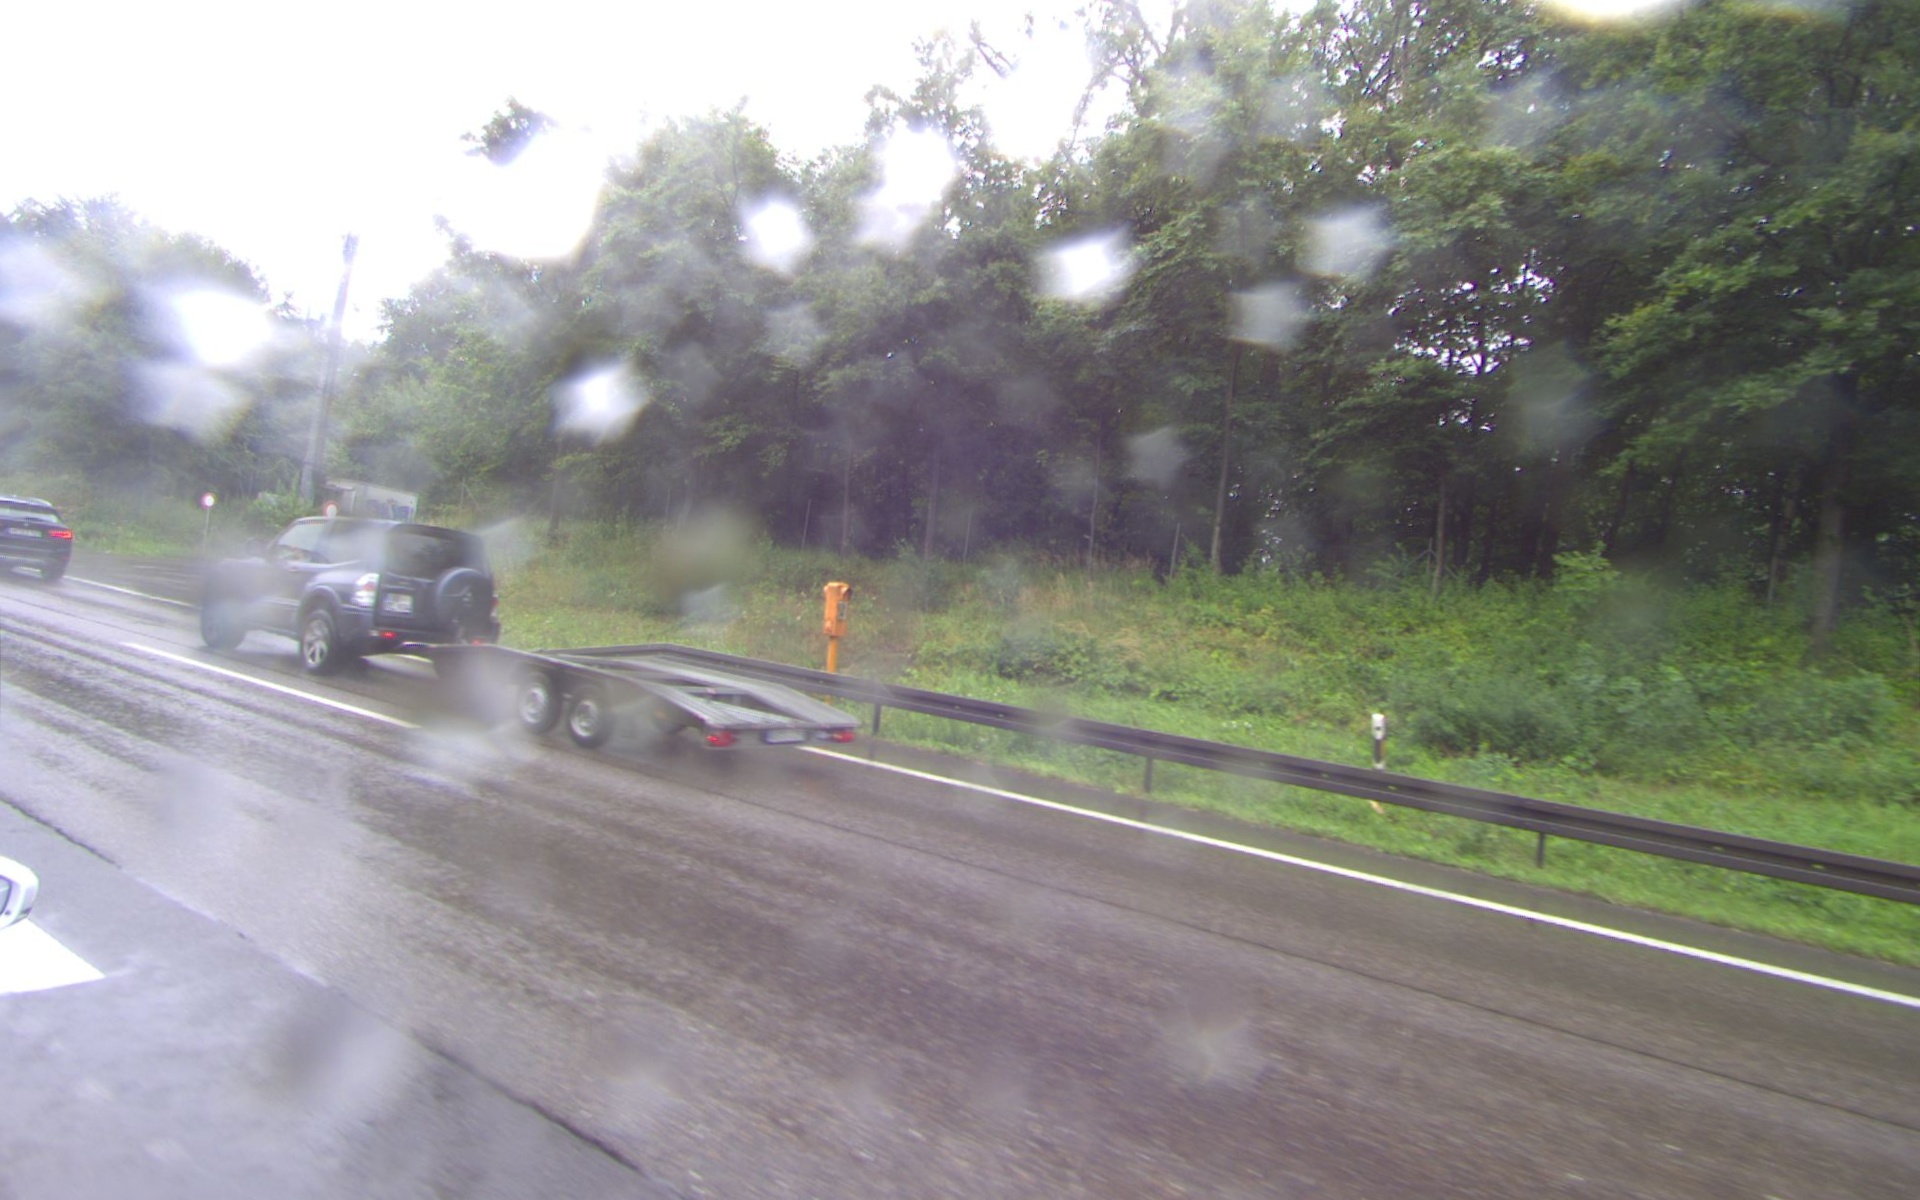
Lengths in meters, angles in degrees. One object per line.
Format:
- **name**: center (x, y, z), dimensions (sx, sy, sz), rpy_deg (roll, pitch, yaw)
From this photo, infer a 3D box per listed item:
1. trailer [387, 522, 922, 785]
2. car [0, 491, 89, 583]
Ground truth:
- **trailer**: center (-3.153, 0.417, 10.035), dimensions (4.999, 1.734, 2.247), rpy_deg (7, -1, 33)
- **car**: center (-20.067, -1.477, 20.652), dimensions (4.689, 1.602, 1.993), rpy_deg (7, -1, 33)
